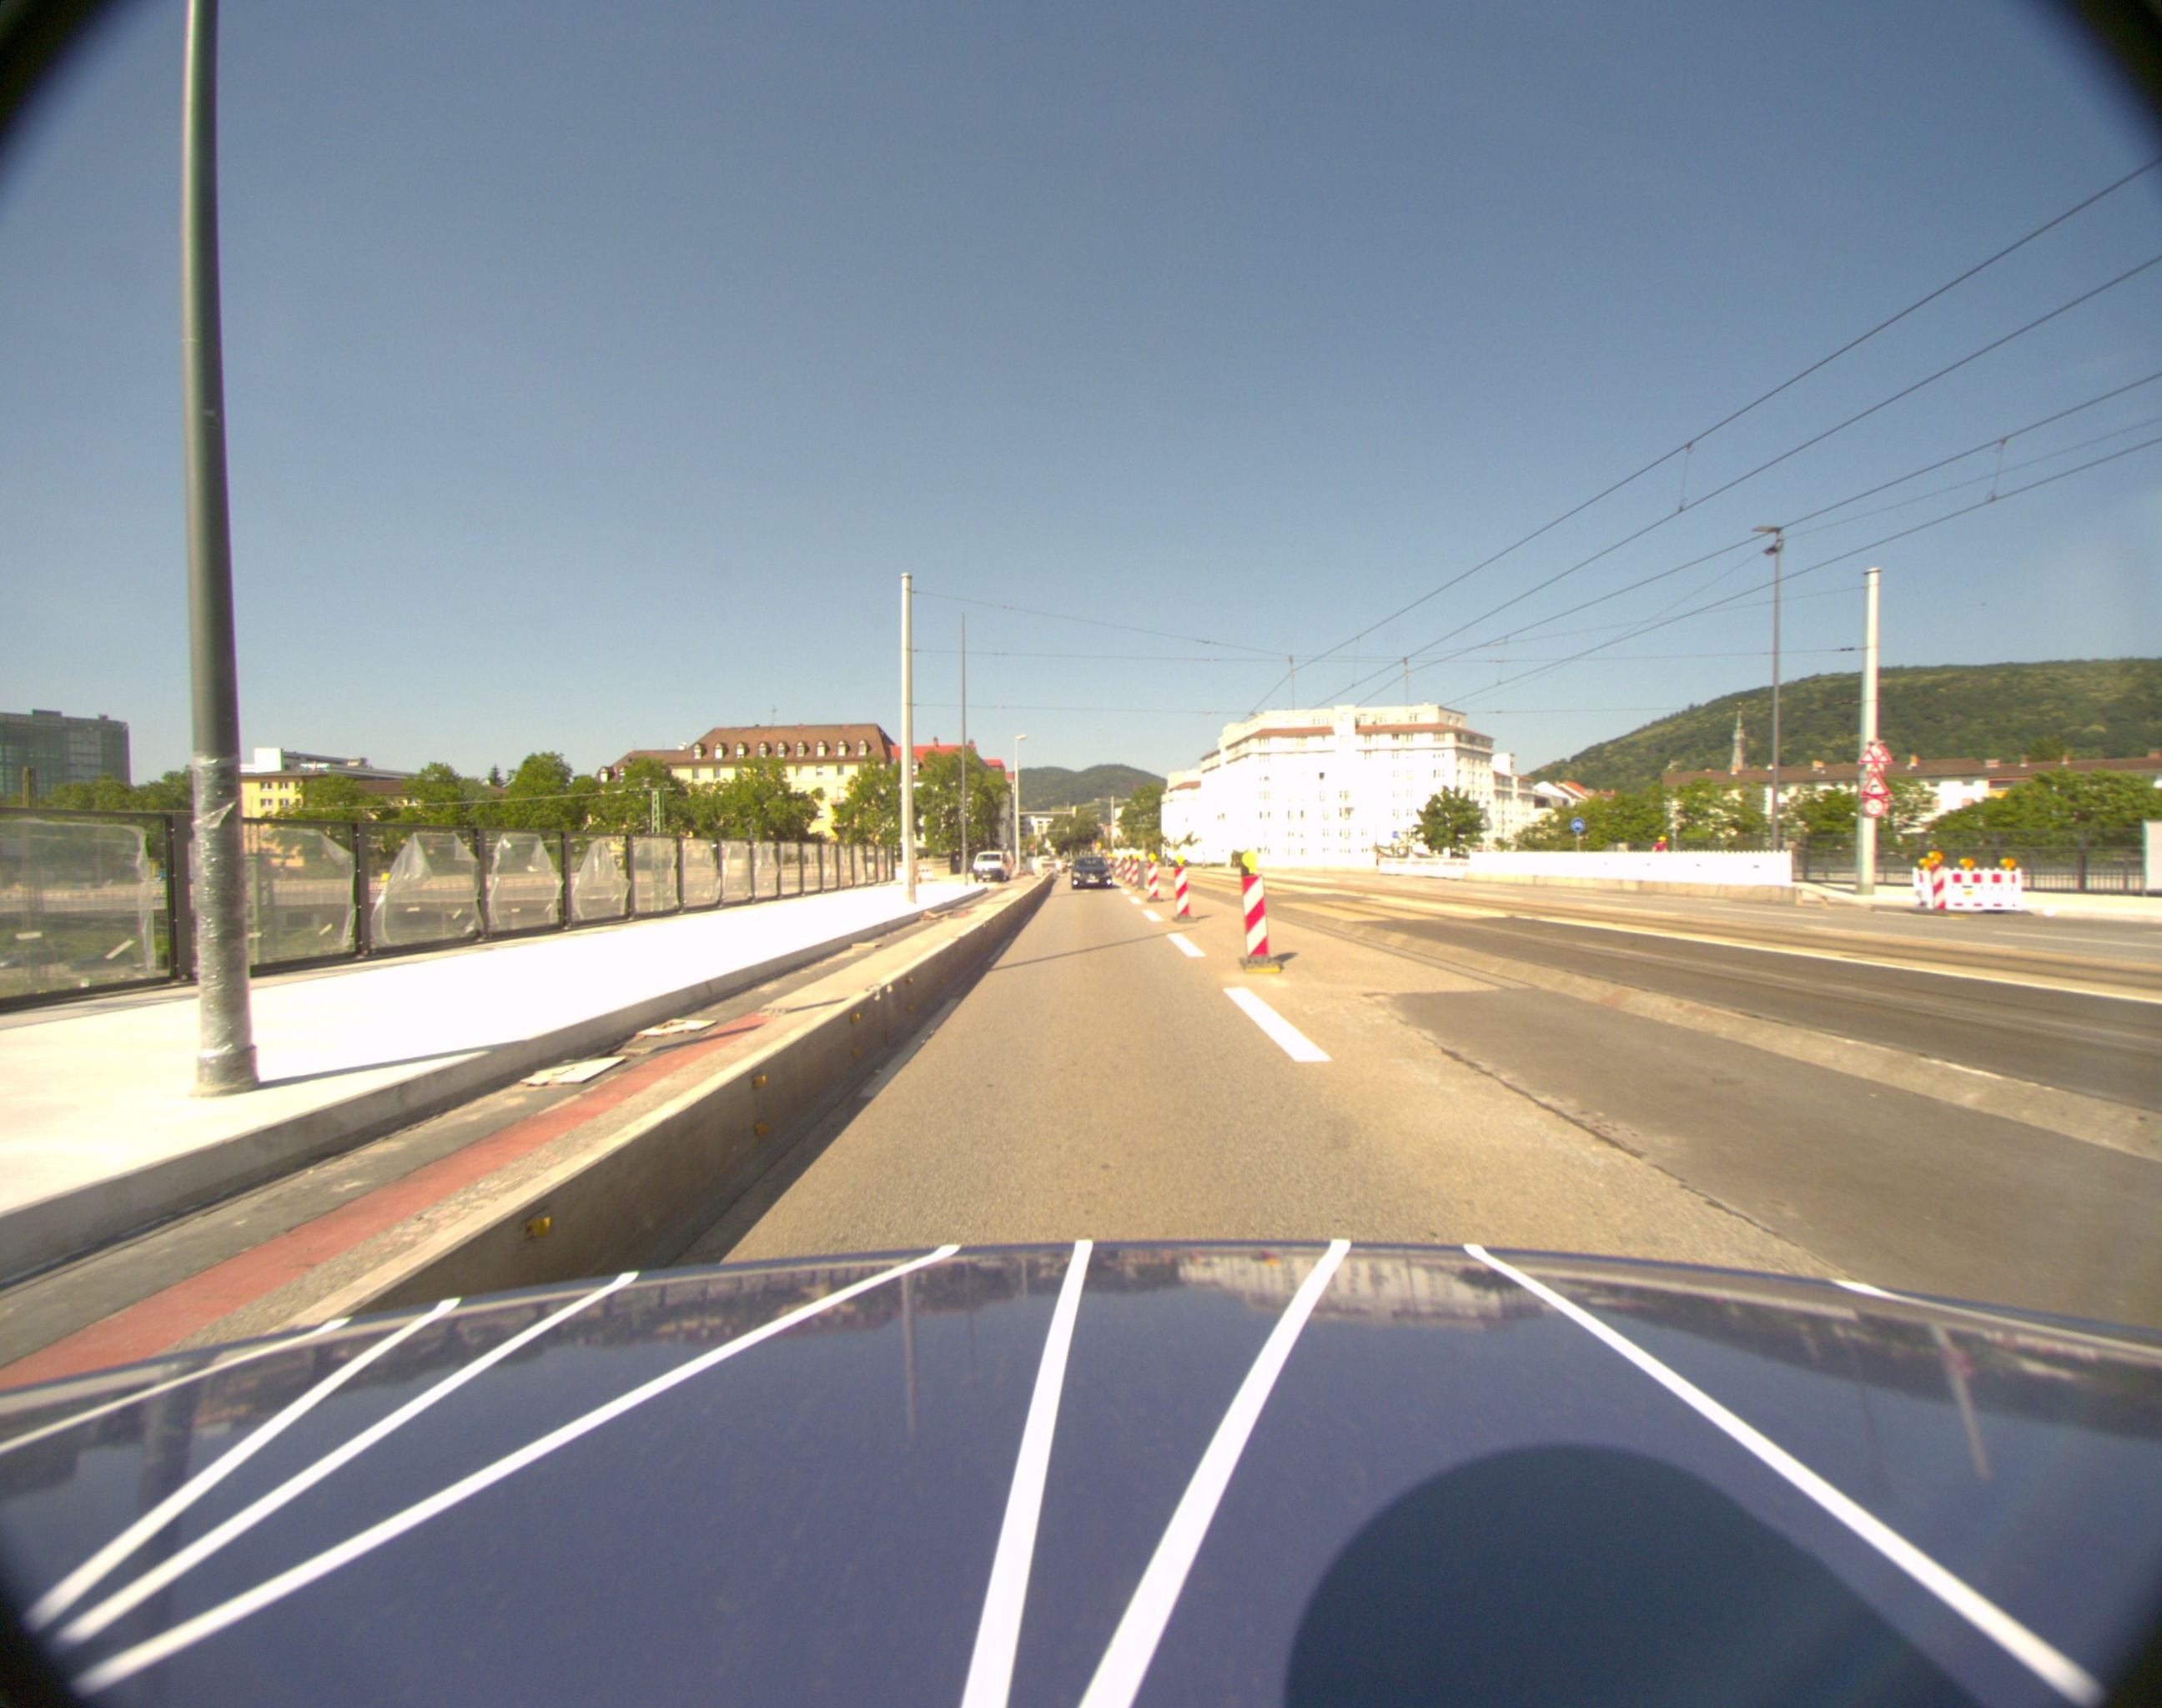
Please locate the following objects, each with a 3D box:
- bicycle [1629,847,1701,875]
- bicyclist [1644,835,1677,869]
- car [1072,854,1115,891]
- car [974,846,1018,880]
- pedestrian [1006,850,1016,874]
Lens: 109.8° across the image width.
[{"bbox_3d":[26.197,0.286,34.173,0.858,1.188,3.071,-2,1,0],"label":"bicycle"},{"bbox_3d":[26.201,-0.090,34.366,0.858,1.510,0.817,-2,1,0],"label":"bicyclist"},{"bbox_3d":[0.532,0.758,33.524,1.698,1.388,4.362,-2,1,0],"label":"car"},{"bbox_3d":[-5.602,0.590,50.912,1.938,2.078,6.471,-1,0,2],"label":"car"},{"bbox_3d":[-5.786,0.635,62.644,0.761,1.973,0.843,1,2,0],"label":"pedestrian"}]
